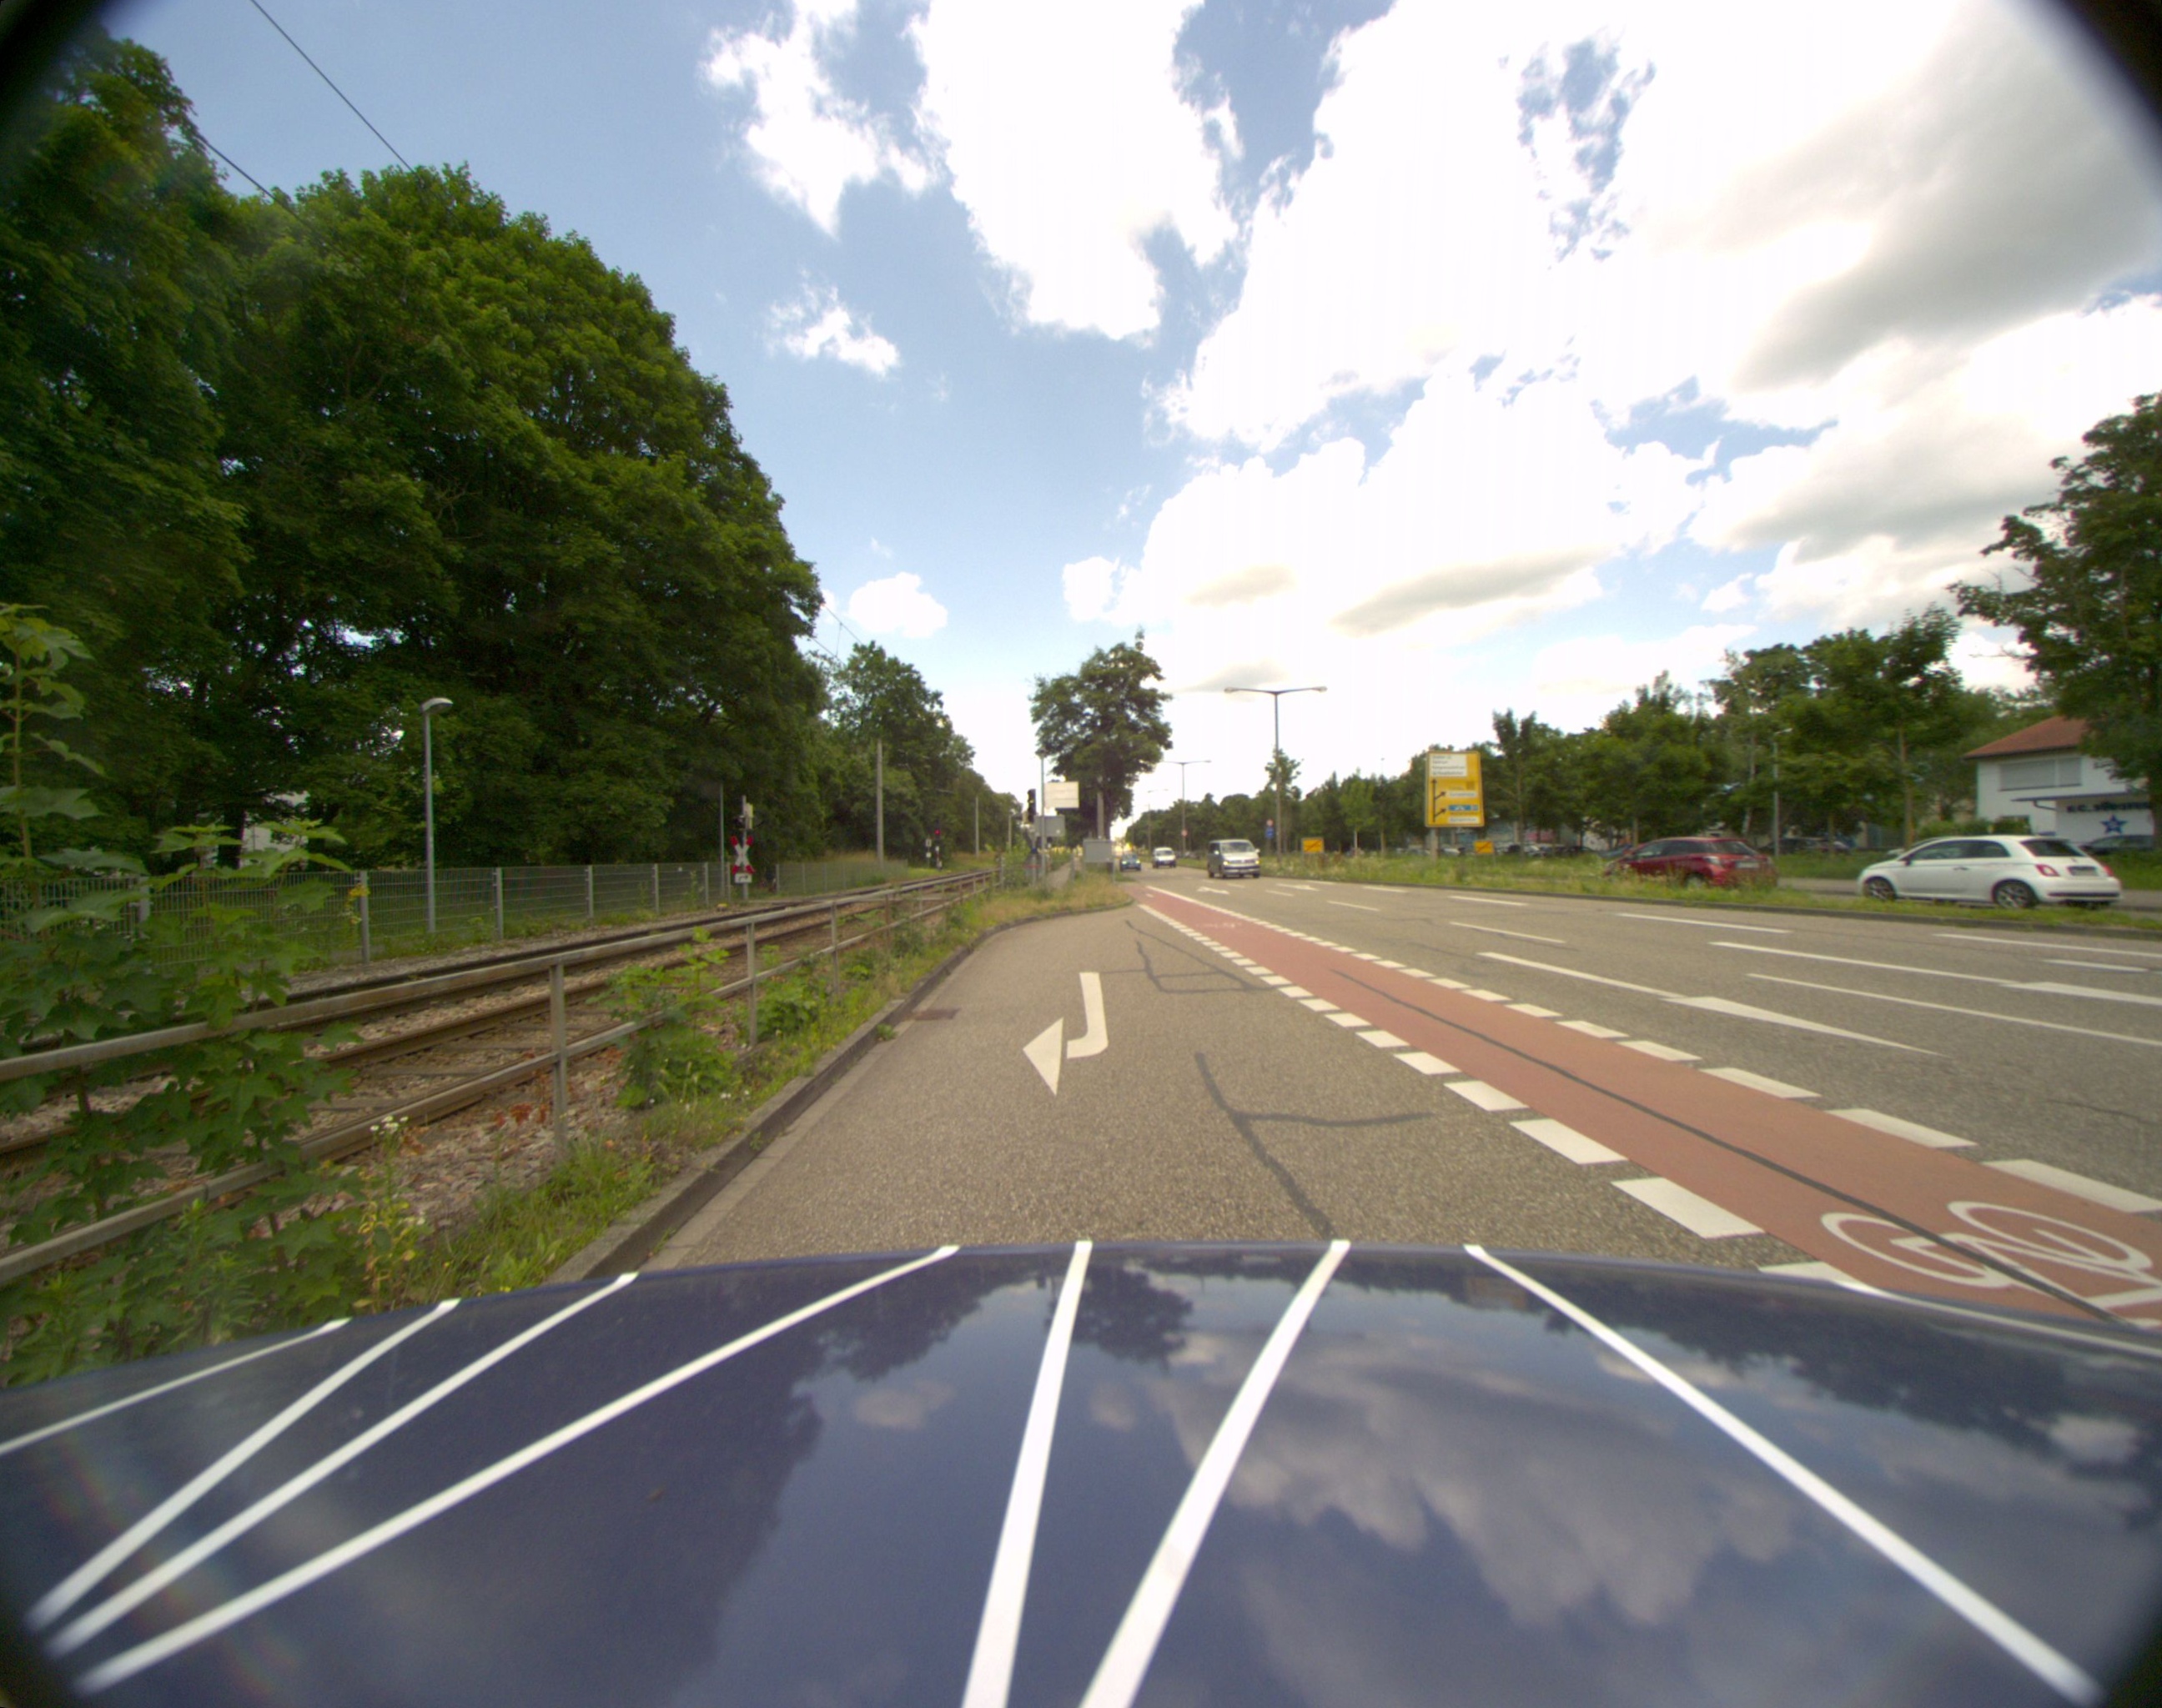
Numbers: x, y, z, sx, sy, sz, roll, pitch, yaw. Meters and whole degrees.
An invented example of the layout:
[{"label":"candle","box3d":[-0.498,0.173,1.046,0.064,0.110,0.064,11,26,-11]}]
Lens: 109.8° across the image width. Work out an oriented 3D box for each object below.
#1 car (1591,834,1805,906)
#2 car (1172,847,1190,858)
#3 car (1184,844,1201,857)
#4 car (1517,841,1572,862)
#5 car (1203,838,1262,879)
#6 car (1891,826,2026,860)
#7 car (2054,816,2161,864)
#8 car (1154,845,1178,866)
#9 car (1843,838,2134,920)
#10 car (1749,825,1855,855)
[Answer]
[{"label":"car","box3d":[15.302,0.351,19.167,1.999,1.608,3.998,-1,0,-4]},{"label":"car","box3d":[12.964,-0.206,98.385,1.686,1.437,3.692,-1,0,-2]},{"label":"car","box3d":[15.700,-0.479,107.143,1.917,1.736,4.000,-1,0,1]},{"label":"car","box3d":[36.966,-0.173,60.709,1.998,1.578,4.023,-1,0,1]},{"label":"car","box3d":[7.692,0.200,39.019,1.818,1.907,5.231,-1,1,-2]},{"label":"car","box3d":[36.256,-0.448,31.541,1.625,1.324,3.476,-1,0,1]},{"label":"car","box3d":[36.518,-0.479,25.837,1.762,1.578,4.023,-1,0,1]},{"label":"car","box3d":[7.512,0.119,67.539,1.747,1.775,4.156,-2,1,2]},{"label":"car","box3d":[18.299,0.437,15.604,1.616,1.436,3.592,-2,1,-2]},{"label":"car","box3d":[36.162,-0.662,38.240,1.729,1.403,3.866,-1,0,1]}]
